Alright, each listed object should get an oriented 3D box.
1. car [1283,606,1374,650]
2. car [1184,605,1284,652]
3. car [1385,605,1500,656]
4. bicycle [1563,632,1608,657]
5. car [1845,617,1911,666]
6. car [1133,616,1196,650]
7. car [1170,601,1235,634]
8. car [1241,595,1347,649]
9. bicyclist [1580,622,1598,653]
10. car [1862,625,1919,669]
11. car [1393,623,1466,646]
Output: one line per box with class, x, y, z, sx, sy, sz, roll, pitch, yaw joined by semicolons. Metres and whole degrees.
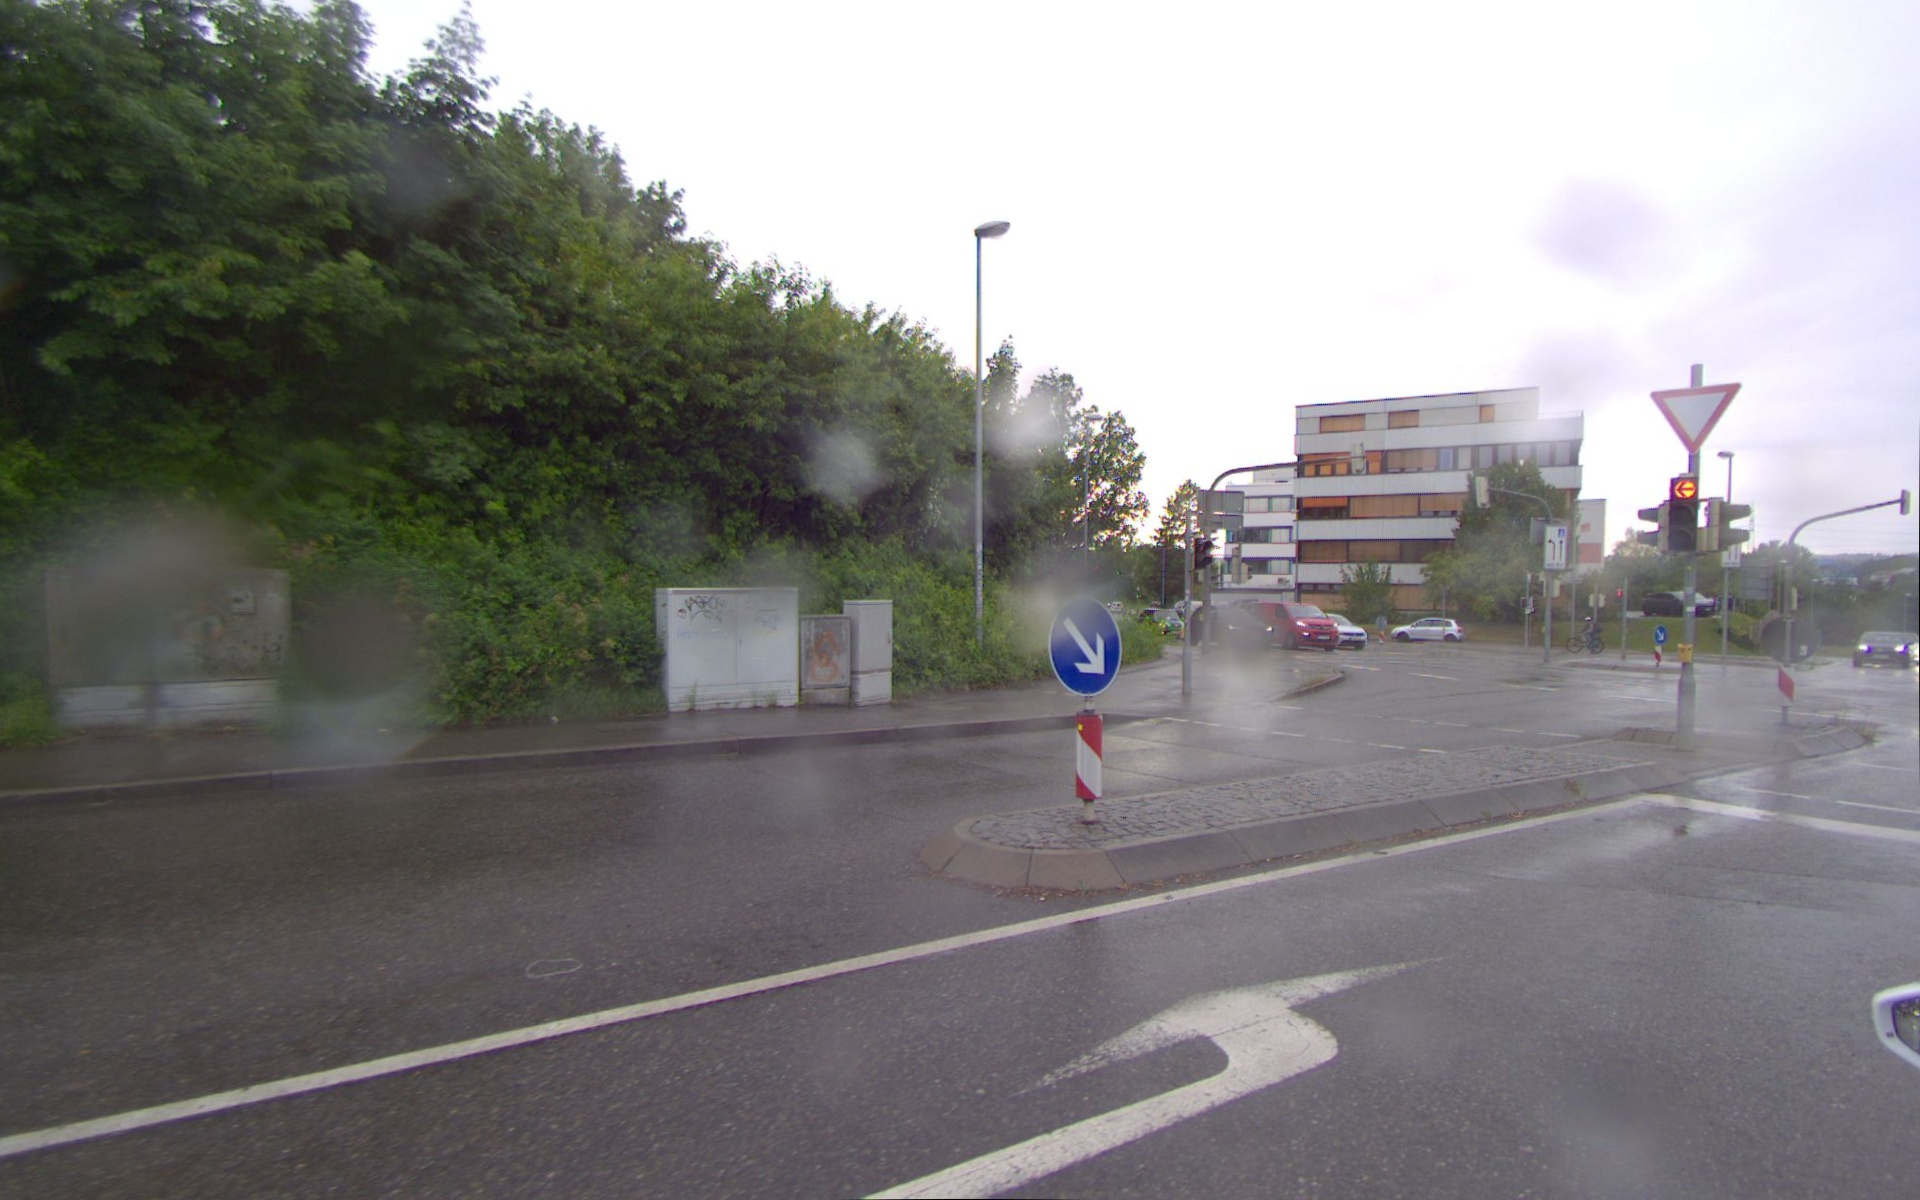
car;15.780;1.171;43.239;1.964;1.706;3.993;1;1;-9
car;10.706;1.095;39.621;1.998;1.701;4.623;1;-1;-11
car;19.146;1.161;40.046;1.965;1.865;4.144;1;1;-13
bicycle;30.071;2.133;48.316;0.604;1.066;1.763;1;1;-34
car;39.162;1.761;42.878;1.972;1.920;3.977;2;0;43
car;9.259;1.466;45.669;1.651;1.405;3.454;1;0;-9
car;16.181;1.110;67.322;1.968;2.041;4.994;1;1;-17
car;13.498;0.837;40.951;1.965;2.040;4.776;1;0;-12
bicyclist;30.163;1.810;48.179;0.597;1.465;0.540;0;1;-35
car;44.620;2.188;47.786;3.967;1.920;1.977;1;1;-40
car;26.288;1.924;56.220;3.457;1.120;1.815;1;1;35
